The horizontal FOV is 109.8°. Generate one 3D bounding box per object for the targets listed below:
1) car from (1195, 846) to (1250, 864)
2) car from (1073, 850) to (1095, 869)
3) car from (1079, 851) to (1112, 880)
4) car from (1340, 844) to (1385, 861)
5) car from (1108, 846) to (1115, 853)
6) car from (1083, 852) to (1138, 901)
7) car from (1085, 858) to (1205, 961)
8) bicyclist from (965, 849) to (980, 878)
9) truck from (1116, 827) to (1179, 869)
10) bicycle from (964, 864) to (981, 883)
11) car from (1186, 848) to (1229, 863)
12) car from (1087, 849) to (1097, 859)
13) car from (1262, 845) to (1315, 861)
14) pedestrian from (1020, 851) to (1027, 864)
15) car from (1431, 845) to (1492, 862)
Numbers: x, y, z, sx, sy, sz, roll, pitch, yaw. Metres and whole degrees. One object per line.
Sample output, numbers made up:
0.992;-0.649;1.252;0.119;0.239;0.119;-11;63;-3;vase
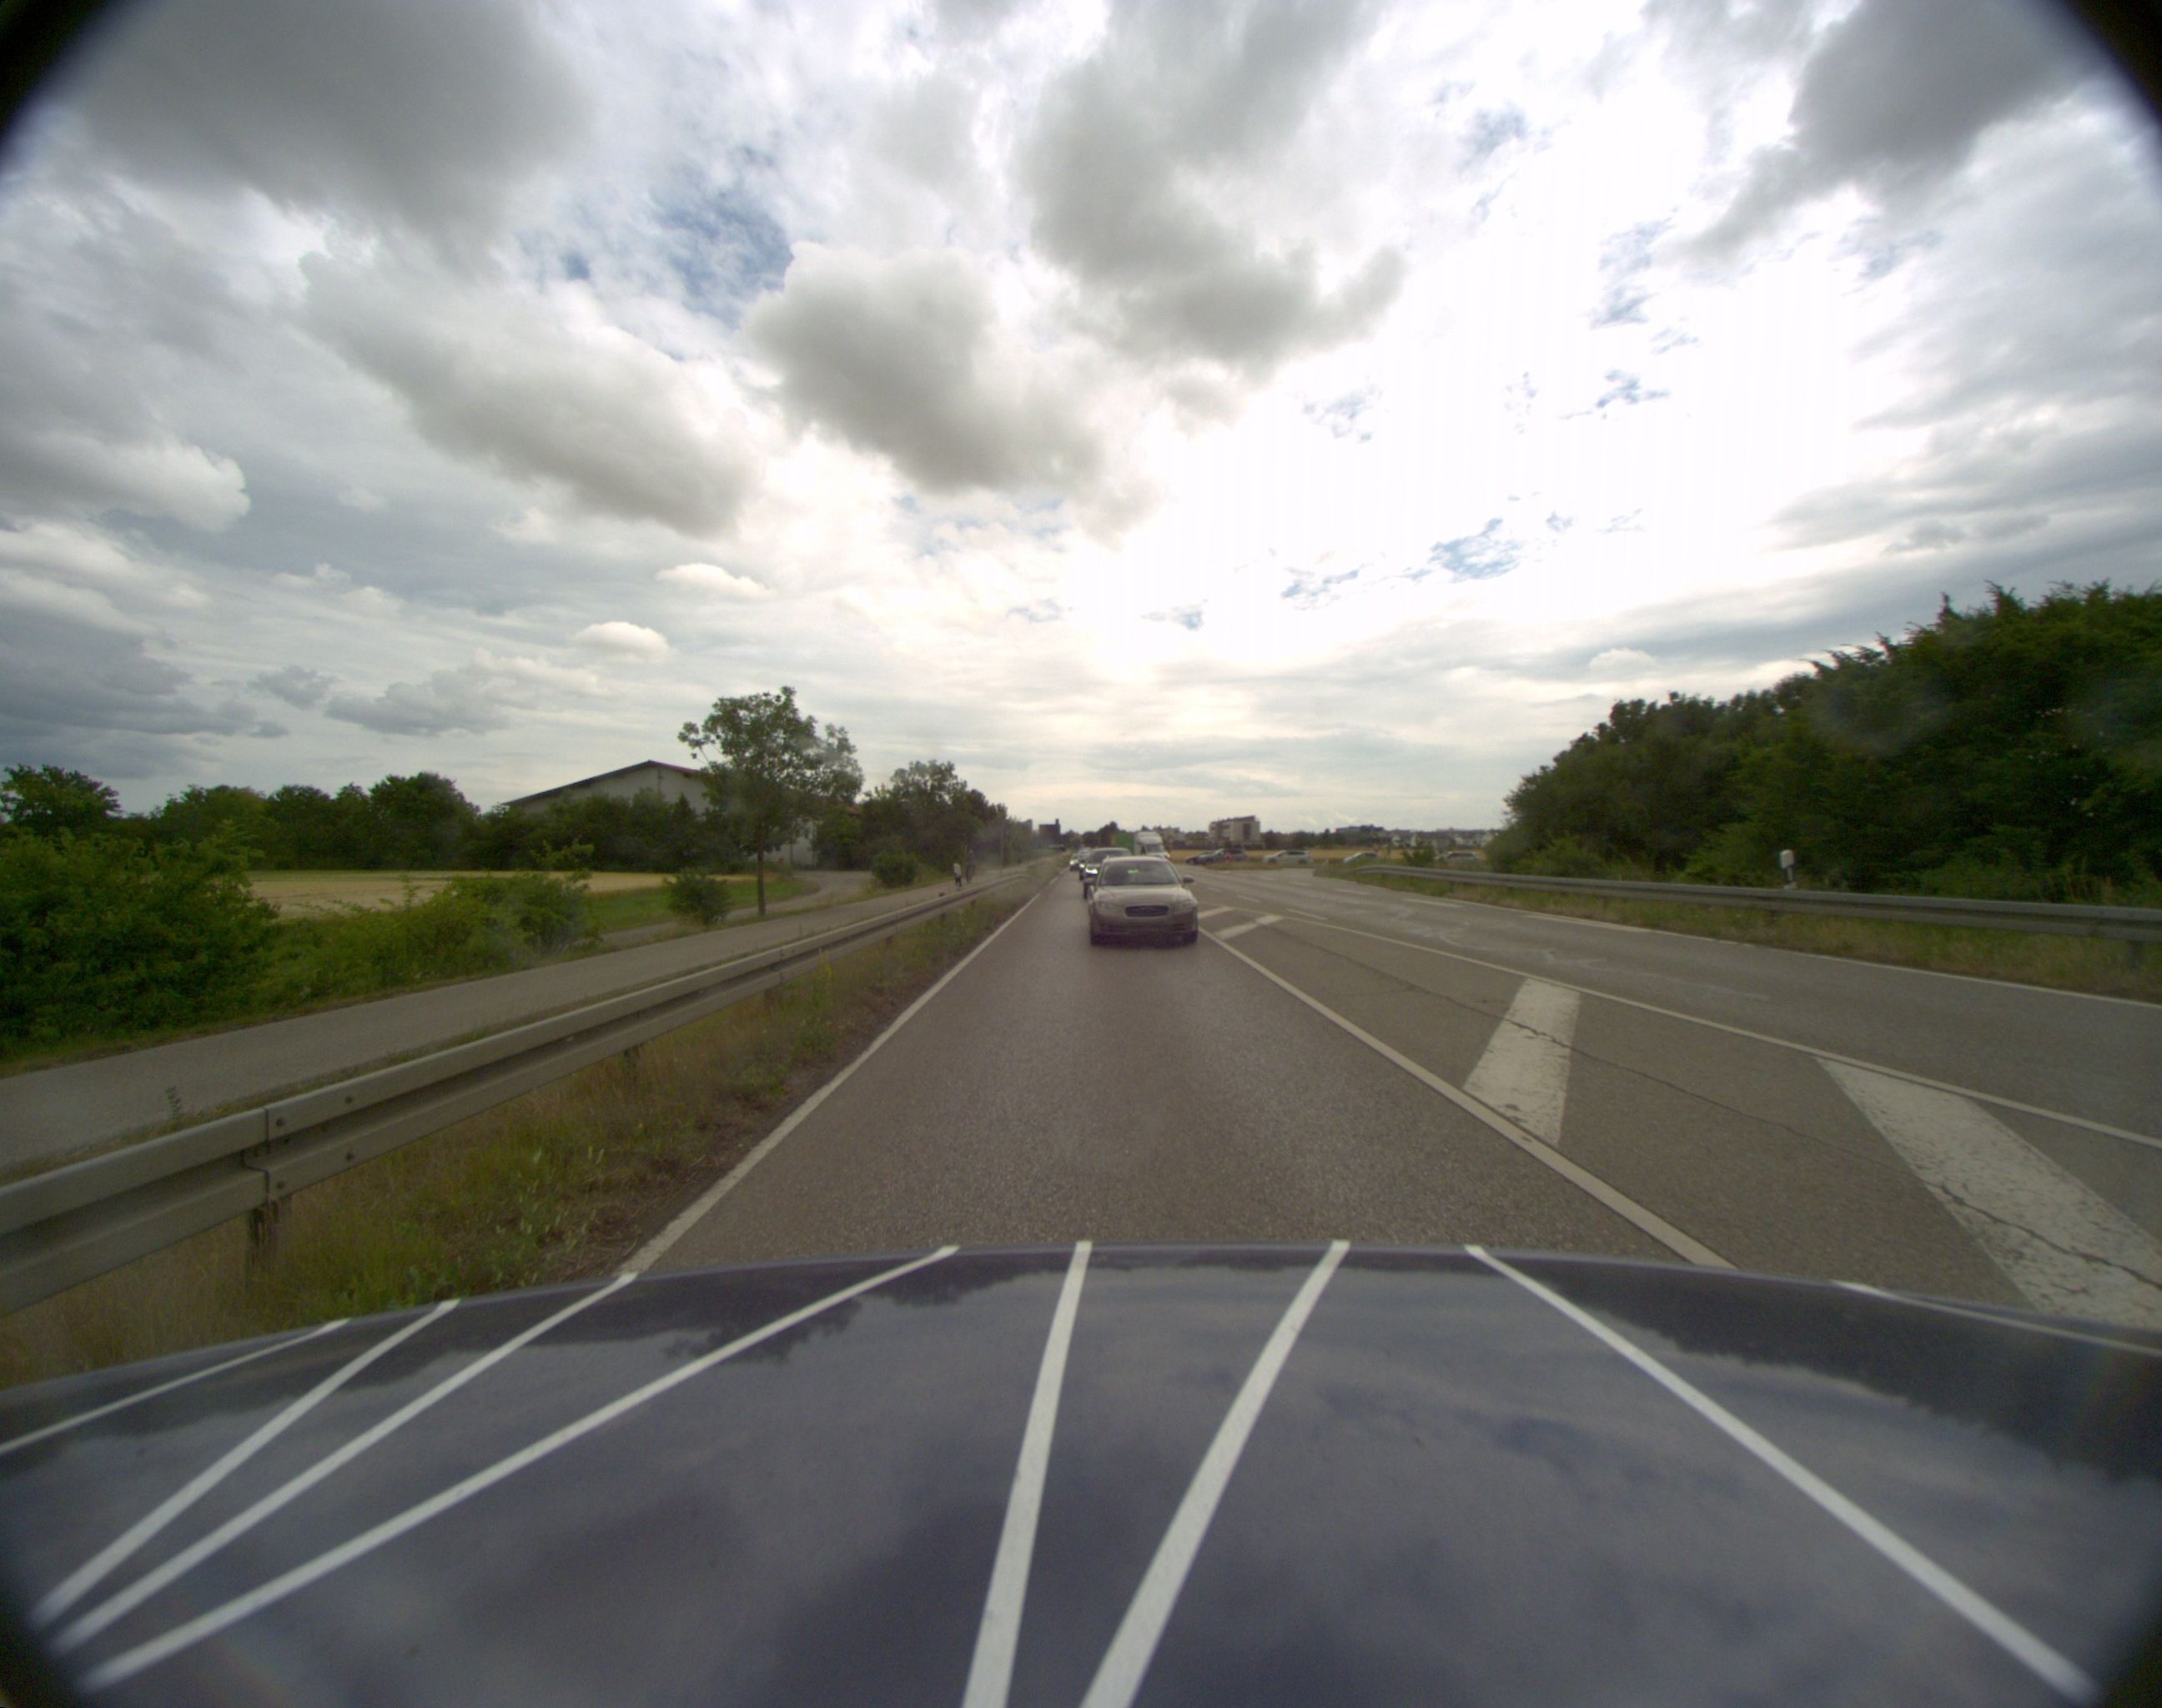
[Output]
13.452;0.099;72.516;4.816;1.680;1.999;-1;1;-4;car
0.259;0.439;64.578;1.730;1.436;4.203;-2;1;0;car
0.805;0.607;43.419;1.730;1.478;4.203;-2;1;0;car
26.400;-0.138;71.356;3.714;1.490;1.731;-1;1;7;car
9.463;-1.444;233.736;1.998;2.002;3.999;-2;1;1;car
0.971;0.724;26.626;1.730;1.534;4.203;-1;1;0;car
0.965;0.830;13.363;1.730;1.436;4.203;-1;1;0;car
-5.985;0.506;41.913;0.640;1.573;0.969;-1;1;0;bicyclist
5.945;-0.542;69.070;2.935;3.542;7.593;-3;1;-17;truck
-5.976;1.074;41.943;0.640;0.973;2.072;-1;1;1;bicycle
12.773;0.178;76.862;2.004;1.481;3.827;-1;1;-43;car
2.235;0.012;155.670;1.998;2.002;3.999;-2;1;1;car
19.695;-0.082;72.304;4.673;1.490;2.001;-1;1;7;car
-6.831;0.364;90.445;0.592;1.512;0.501;-2;1;7;pedestrian
35.190;-0.027;70.317;4.673;1.490;2.001;-1;1;7;car
